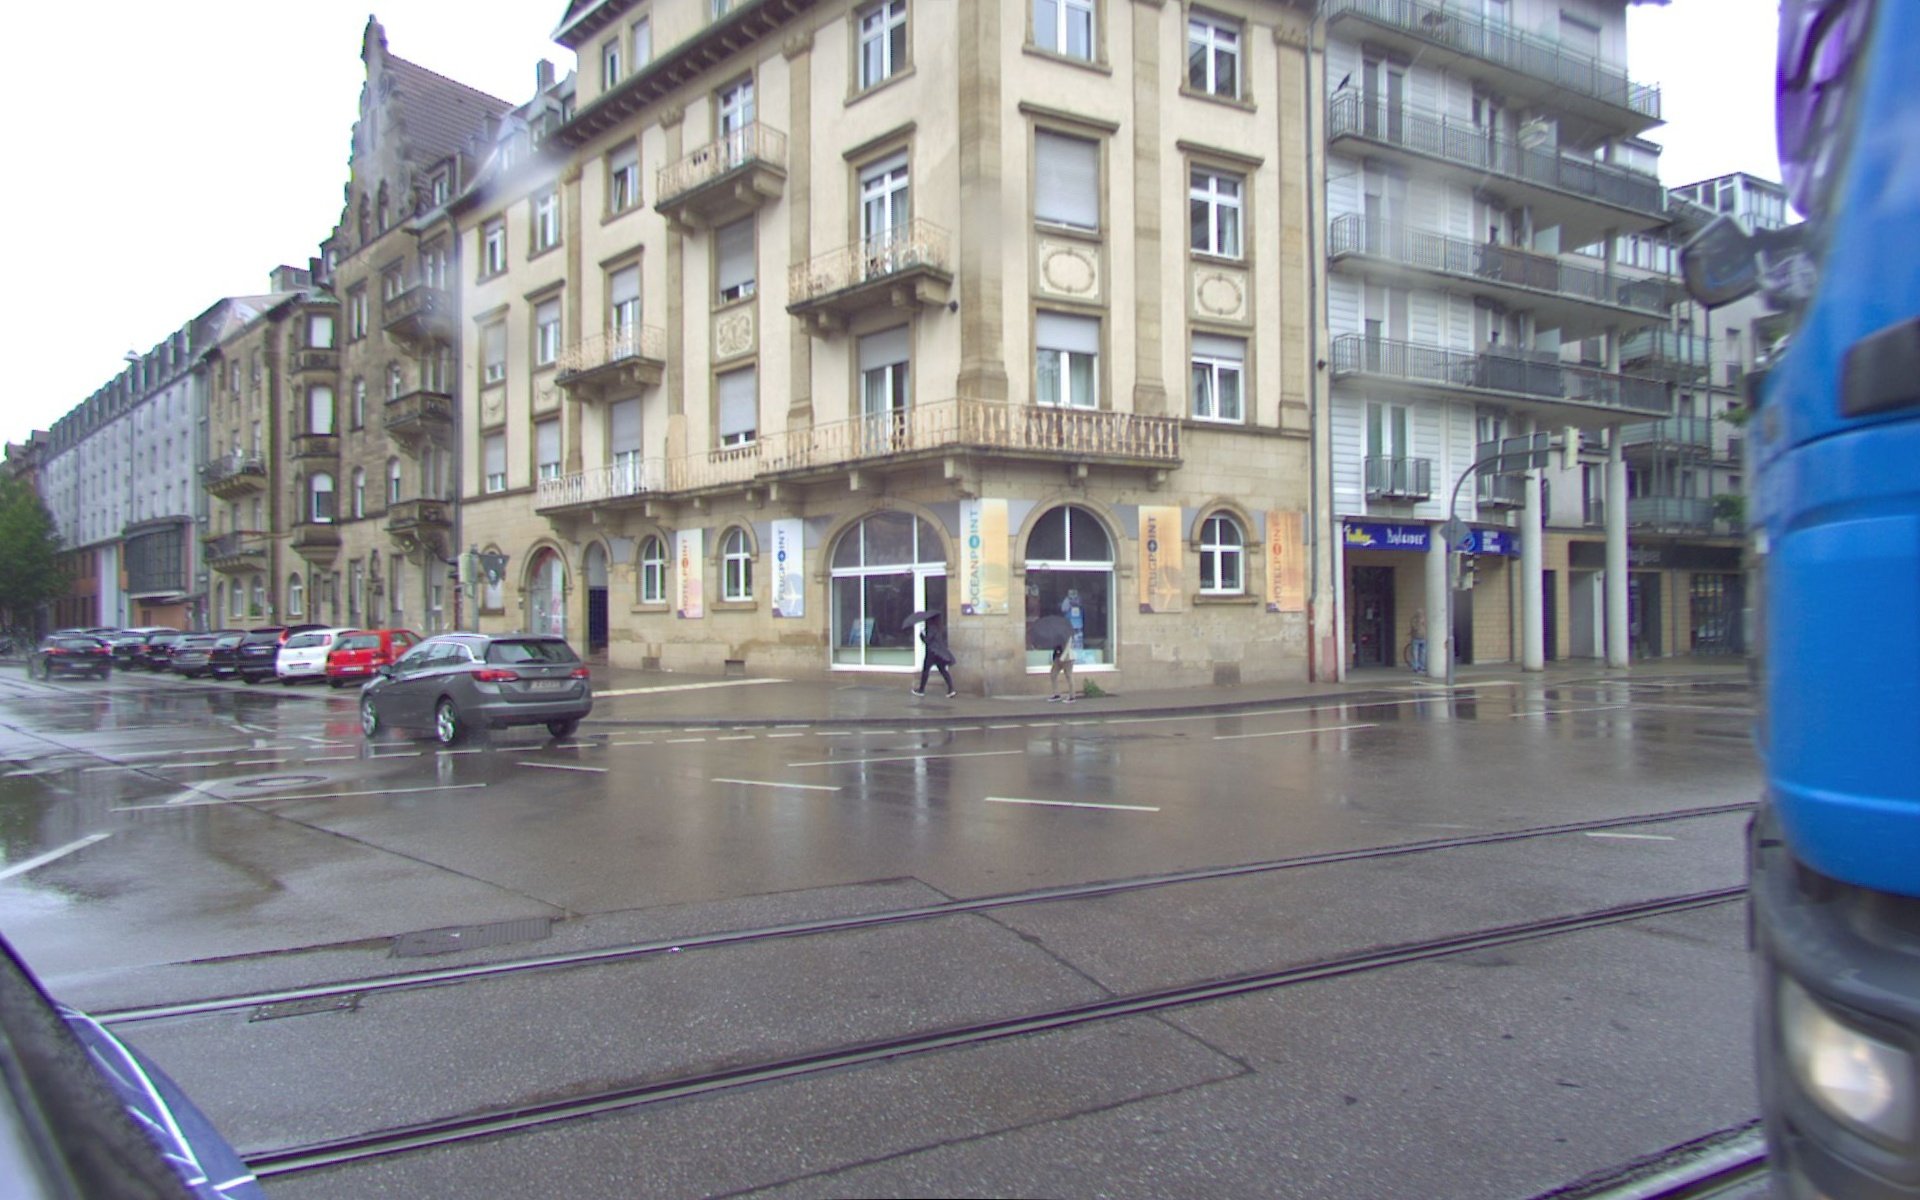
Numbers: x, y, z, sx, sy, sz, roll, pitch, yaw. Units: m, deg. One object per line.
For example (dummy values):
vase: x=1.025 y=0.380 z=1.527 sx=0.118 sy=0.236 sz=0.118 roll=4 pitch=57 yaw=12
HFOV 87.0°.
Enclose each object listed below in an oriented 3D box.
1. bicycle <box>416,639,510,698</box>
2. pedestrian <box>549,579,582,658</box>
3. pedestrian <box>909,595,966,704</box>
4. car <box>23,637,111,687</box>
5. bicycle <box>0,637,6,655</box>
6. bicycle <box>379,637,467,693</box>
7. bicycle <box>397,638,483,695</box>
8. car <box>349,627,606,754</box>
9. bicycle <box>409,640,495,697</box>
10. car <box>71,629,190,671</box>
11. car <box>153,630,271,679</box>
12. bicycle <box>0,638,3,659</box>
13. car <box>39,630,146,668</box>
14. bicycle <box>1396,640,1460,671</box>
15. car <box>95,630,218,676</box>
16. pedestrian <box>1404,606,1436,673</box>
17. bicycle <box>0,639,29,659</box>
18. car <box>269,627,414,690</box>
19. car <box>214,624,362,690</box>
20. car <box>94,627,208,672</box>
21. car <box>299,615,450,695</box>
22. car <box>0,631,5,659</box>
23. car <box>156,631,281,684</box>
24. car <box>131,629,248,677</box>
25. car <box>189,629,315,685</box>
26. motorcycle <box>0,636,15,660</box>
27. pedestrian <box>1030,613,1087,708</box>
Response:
bicycle: x=-11.840 y=1.608 z=24.157 sx=0.474 sy=1.193 sz=1.962 roll=-1 pitch=2 yaw=37
pedestrian: x=-11.939 y=0.565 z=30.617 sx=0.834 sy=2.358 sz=0.767 roll=0 pitch=-2 yaw=-27
pedestrian: x=-0.415 y=0.914 z=19.268 sx=0.698 sy=1.980 sz=0.912 roll=2 pitch=1 yaw=29
car: x=-30.153 y=2.046 z=34.147 sx=3.776 sy=1.558 sz=1.725 roll=-2 pitch=-2 yaw=41
bicycle: x=-57.249 y=2.727 z=59.472 sx=0.544 sy=1.081 sz=1.667 roll=-2 pitch=-2 yaw=37
bicycle: x=-13.487 y=1.612 z=25.434 sx=1.789 sy=1.193 sz=0.601 roll=-5 pitch=2 yaw=-44
bicycle: x=-12.755 y=1.614 z=24.869 sx=0.474 sy=1.193 sz=1.793 roll=-2 pitch=2 yaw=39
car: x=-7.015 y=1.179 z=14.515 sx=4.337 sy=1.558 sz=1.709 roll=-2 pitch=-2 yaw=40
bicycle: x=-12.301 y=1.638 z=24.549 sx=0.467 sy=1.193 sz=1.793 roll=-2 pitch=2 yaw=38
car: x=-36.533 y=2.167 z=44.689 sx=1.881 sy=1.539 sz=3.717 roll=0 pitch=2 yaw=9
car: x=-27.327 y=1.953 z=37.092 sx=1.607 sy=1.555 sz=3.439 roll=-2 pitch=0 yaw=4
bicycle: x=-56.275 y=2.849 z=57.947 sx=0.772 sy=1.181 sz=2.025 roll=-2 pitch=1 yaw=37
car: x=-41.126 y=2.297 z=48.099 sx=1.790 sy=1.743 sz=3.923 roll=0 pitch=-2 yaw=-1
bicycle: x=13.847 y=1.631 z=29.909 sx=1.894 sy=0.873 sz=0.583 roll=0 pitch=-2 yaw=-24
car: x=-32.086 y=2.081 z=40.546 sx=1.757 sy=1.555 sz=3.721 roll=-2 pitch=0 yaw=5
pedestrian: x=12.430 y=1.065 z=27.350 sx=0.601 sy=1.794 sz=0.501 roll=0 pitch=-2 yaw=-25
bicycle: x=-56.079 y=2.885 z=59.665 sx=0.544 sy=1.081 sz=1.667 roll=-2 pitch=1 yaw=37
car: x=-17.778 y=1.636 z=29.326 sx=1.681 sy=1.545 sz=3.993 roll=-2 pitch=0 yaw=1
car: x=-20.372 y=1.668 z=30.898 sx=1.740 sy=1.705 sz=4.084 roll=-2 pitch=0 yaw=1
car: x=-34.283 y=2.075 z=42.999 sx=1.755 sy=1.639 sz=3.724 roll=-2 pitch=0 yaw=2
car: x=-15.744 y=1.416 z=27.472 sx=1.778 sy=1.518 sz=4.004 roll=-5 pitch=4 yaw=-2
car: x=-63.271 y=2.860 z=63.805 sx=1.981 sy=1.828 sz=3.982 roll=-1 pitch=-2 yaw=14
car: x=-25.175 y=1.914 z=34.485 sx=1.678 sy=1.555 sz=3.428 roll=-2 pitch=0 yaw=1
car: x=-29.541 y=1.999 z=38.926 sx=1.606 sy=1.555 sz=3.758 roll=-2 pitch=0 yaw=0
car: x=-22.868 y=1.809 z=32.846 sx=1.678 sy=1.537 sz=3.309 roll=-2 pitch=0 yaw=2
motorcycle: x=-55.343 y=2.775 z=57.556 sx=0.758 sy=1.320 sz=2.227 roll=-2 pitch=0 yaw=40
pedestrian: x=1.831 y=1.104 z=18.824 sx=0.731 sy=1.671 sz=0.743 roll=0 pitch=2 yaw=-30
